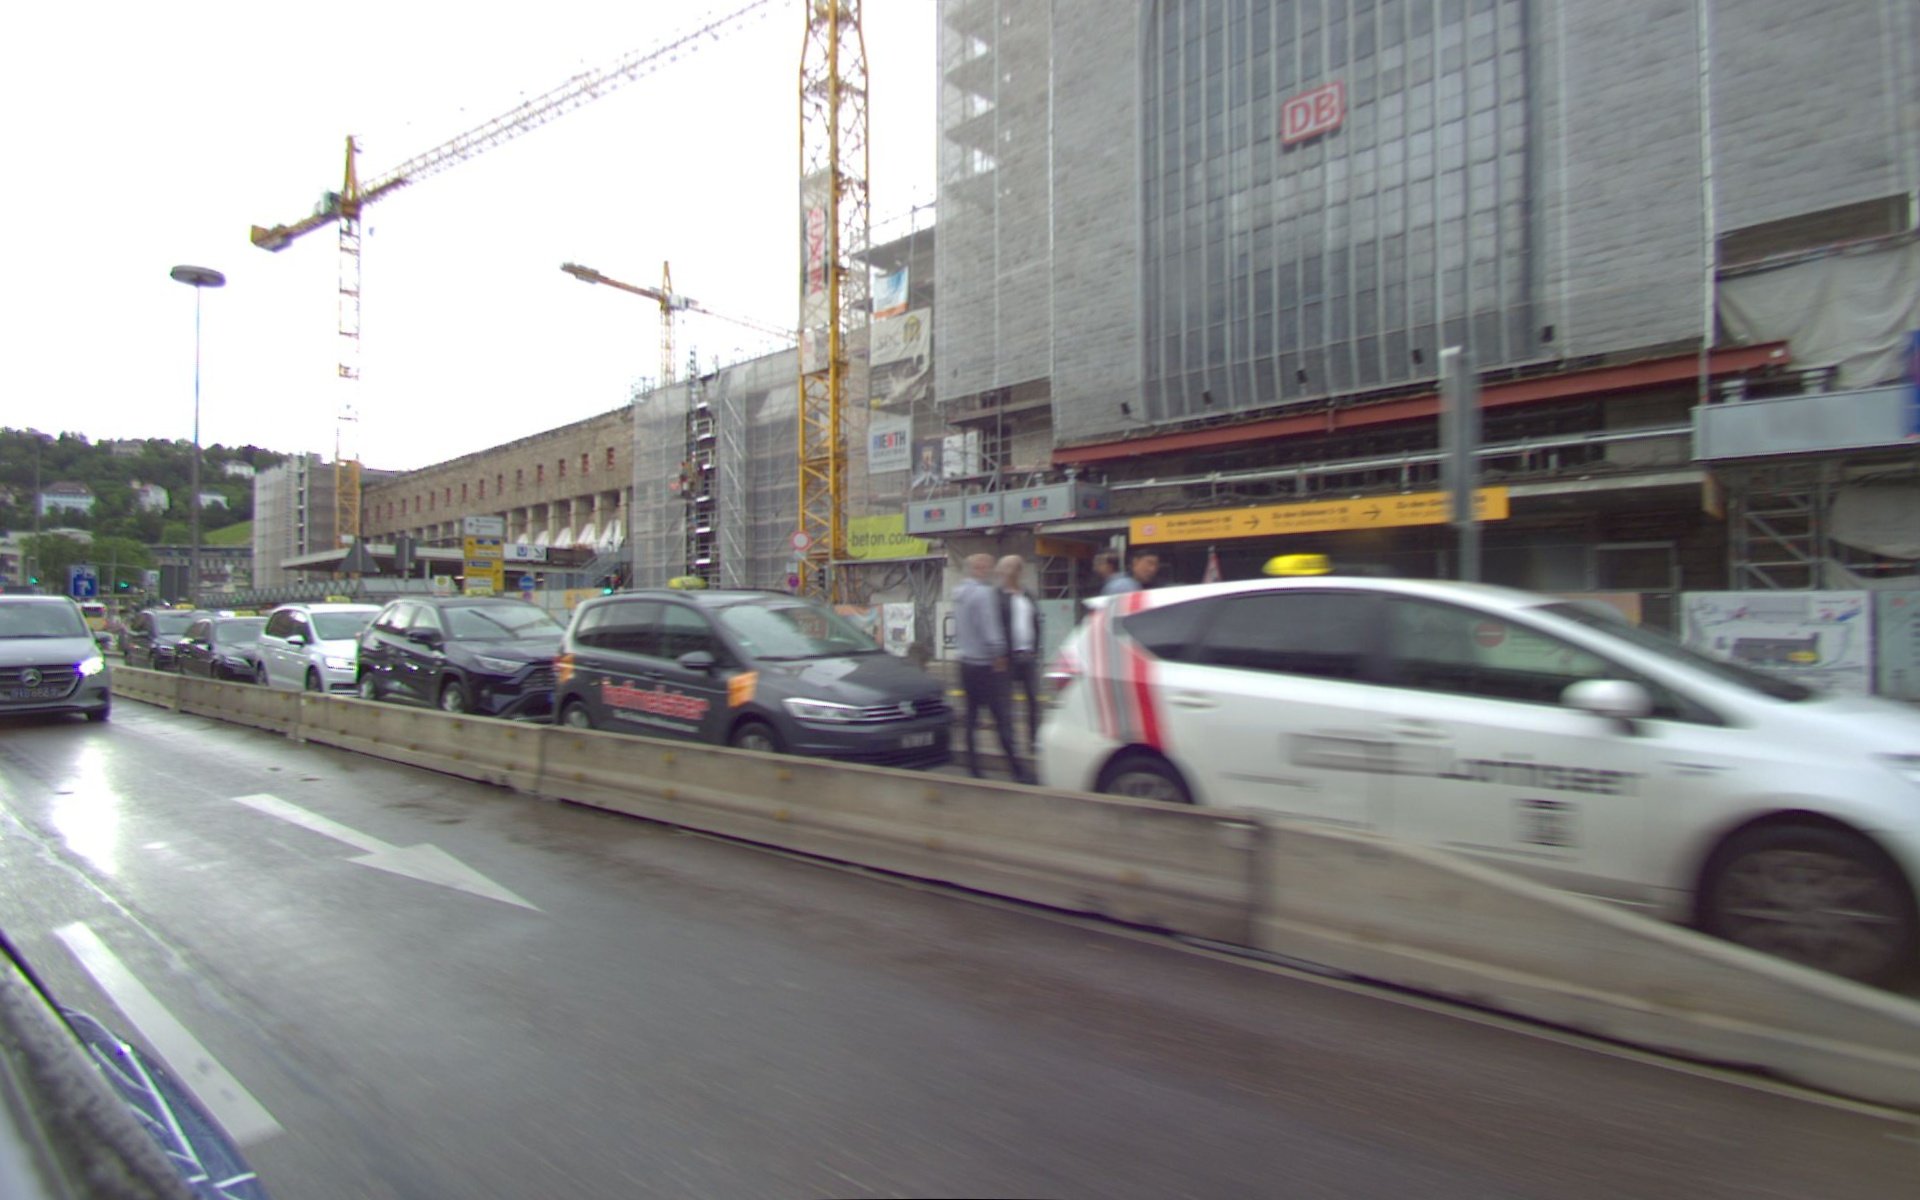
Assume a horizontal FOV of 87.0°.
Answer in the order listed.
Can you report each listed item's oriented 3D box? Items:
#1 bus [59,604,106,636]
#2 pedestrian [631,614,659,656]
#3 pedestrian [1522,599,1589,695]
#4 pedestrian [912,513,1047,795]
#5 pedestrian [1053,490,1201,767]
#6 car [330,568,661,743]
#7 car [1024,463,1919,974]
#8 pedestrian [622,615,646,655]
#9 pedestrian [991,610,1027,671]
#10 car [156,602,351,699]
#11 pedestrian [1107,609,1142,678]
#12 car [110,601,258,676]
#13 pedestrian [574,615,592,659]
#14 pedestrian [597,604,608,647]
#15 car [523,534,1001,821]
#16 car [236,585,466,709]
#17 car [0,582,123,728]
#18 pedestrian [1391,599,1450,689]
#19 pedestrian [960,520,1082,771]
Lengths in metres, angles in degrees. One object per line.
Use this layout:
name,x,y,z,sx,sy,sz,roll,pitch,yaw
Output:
bus,-104.996,2.389,120.928,2.876,3.605,19.088,2,-2,-45
pedestrian,-14.138,1.554,45.426,0.829,1.855,1.059,0,-1,-44
pedestrian,11.785,0.915,20.029,0.993,1.855,0.719,-1,-2,42
pedestrian,0.142,0.398,7.781,0.890,2.029,0.522,-1,-1,40
pedestrian,1.286,0.214,7.998,0.822,2.029,1.030,0,-1,-11
car,-5.980,0.615,12.728,4.845,1.800,1.973,-1,-2,41
car,2.689,0.425,5.023,4.665,1.698,1.767,-1,-2,42
pedestrian,-15.341,1.640,47.590,0.793,1.855,0.851,0,-1,-44
pedestrian,1.522,1.242,31.373,0.831,1.855,0.766,-1,-1,29
car,-14.313,0.940,20.379,5.052,1.724,2.028,-1,-2,41
pedestrian,4.489,1.171,27.677,0.529,1.855,0.772,0,-1,-43
car,-18.921,0.894,24.601,4.639,1.666,1.973,-1,-2,41
pedestrian,-16.188,1.588,43.499,0.692,1.855,0.880,0,-1,-19
pedestrian,-15.284,1.083,43.308,0.334,1.855,0.511,0,-1,-32
car,-1.945,0.555,8.894,4.608,1.906,1.695,-1,-2,42
car,-10.271,0.731,16.942,4.451,1.800,1.973,-1,-2,40
car,-14.449,0.754,15.246,5.248,1.918,1.973,-1,0,41
pedestrian,9.857,0.928,21.653,0.936,1.855,0.810,-1,-2,42
pedestrian,0.519,0.373,8.707,0.836,2.029,0.615,-2,-1,41
